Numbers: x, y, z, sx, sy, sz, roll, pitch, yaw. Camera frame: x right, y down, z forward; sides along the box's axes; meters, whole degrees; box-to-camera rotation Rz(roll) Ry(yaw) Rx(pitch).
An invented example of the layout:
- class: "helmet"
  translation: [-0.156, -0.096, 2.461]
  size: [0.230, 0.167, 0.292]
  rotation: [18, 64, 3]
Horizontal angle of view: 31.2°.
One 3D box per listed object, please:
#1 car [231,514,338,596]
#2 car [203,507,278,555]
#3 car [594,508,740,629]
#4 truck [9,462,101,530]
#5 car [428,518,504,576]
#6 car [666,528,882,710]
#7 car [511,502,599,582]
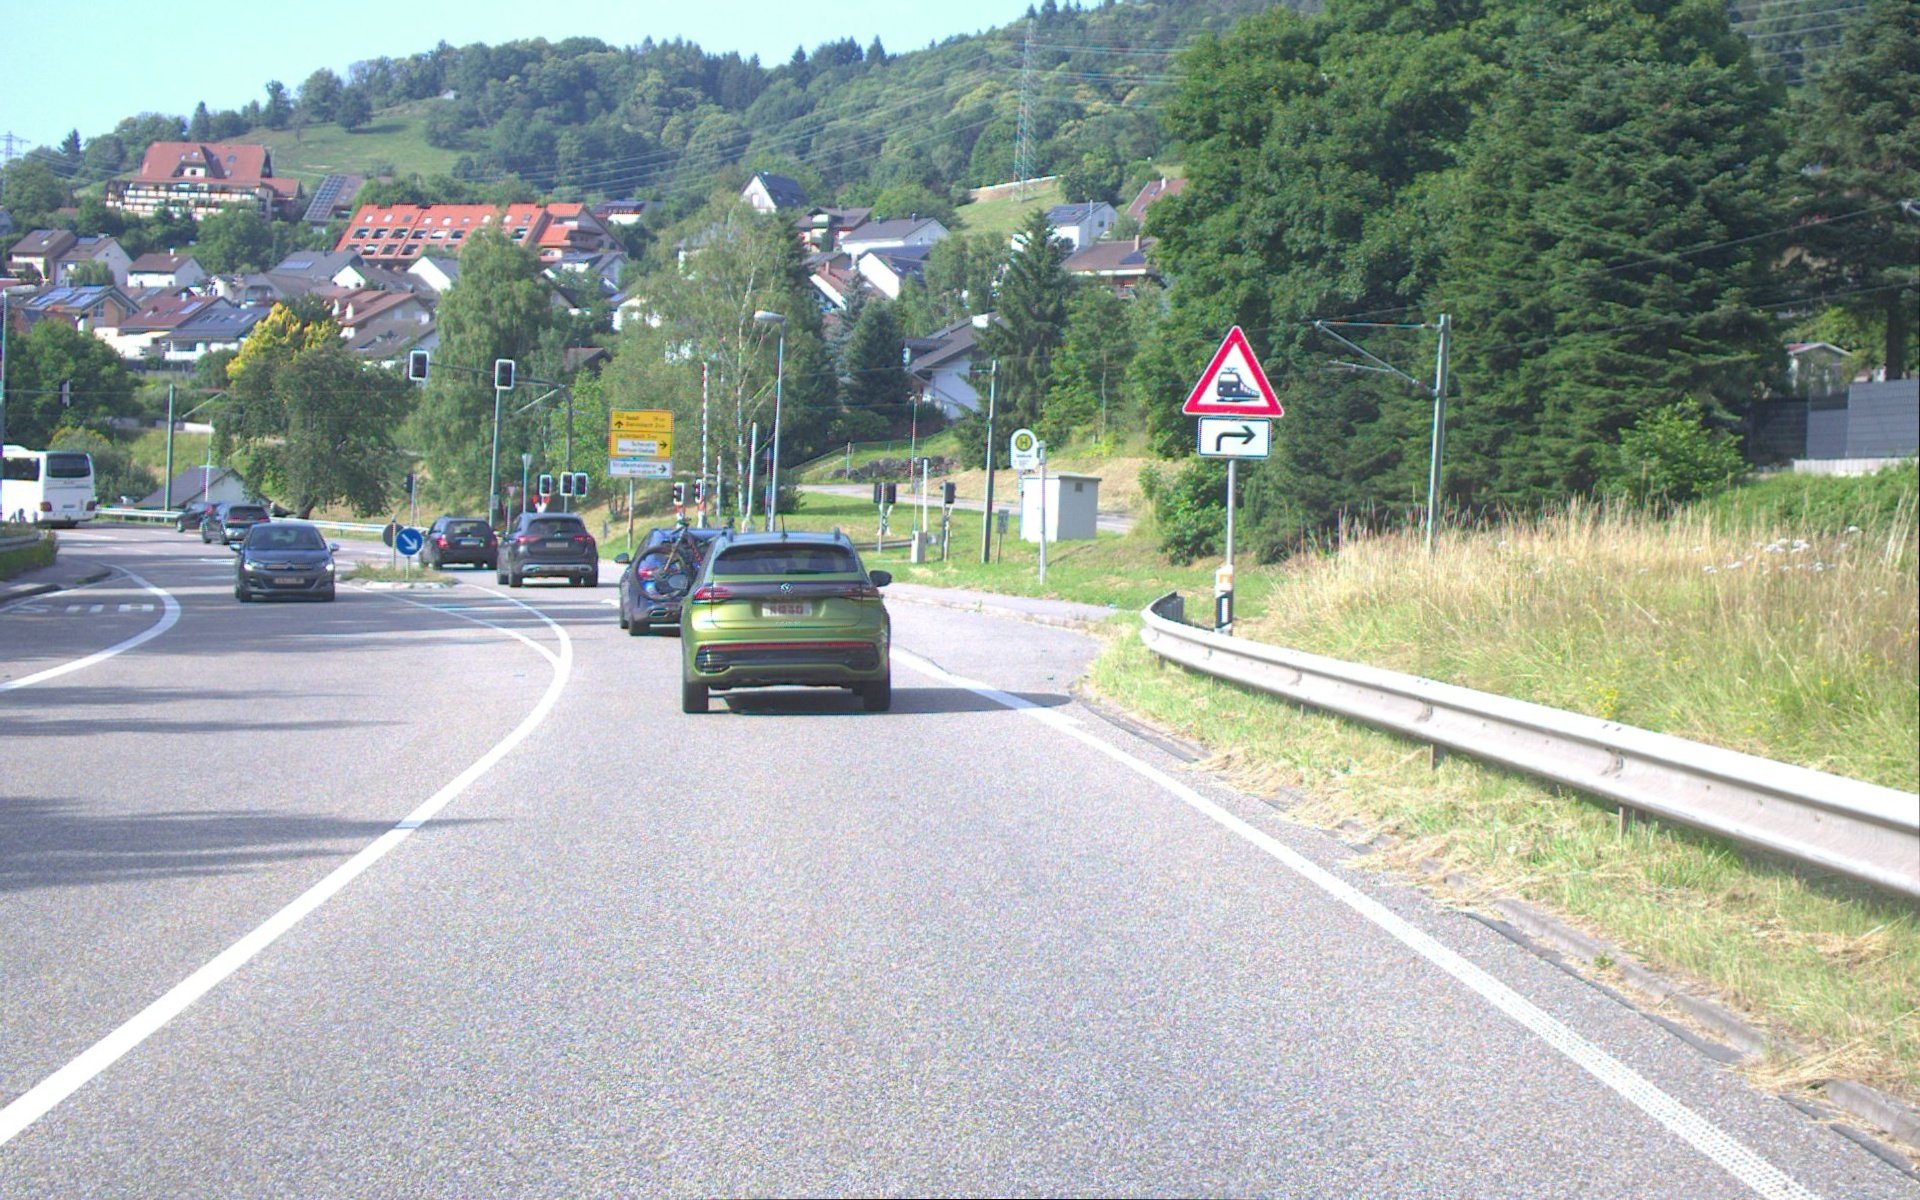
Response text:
- class: "car"
  translation: [-12.834, -0.872, 65.487]
  size: [1.890, 1.483, 4.001]
  rotation: [-1, 1, -10]
- class: "car"
  translation: [-27.749, -2.677, 132.544]
  size: [2.063, 1.805, 4.001]
  rotation: [-1, 2, -24]
- class: "car"
  translation: [-4.008, -0.454, 46.525]
  size: [1.666, 1.554, 4.001]
  rotation: [0, 1, -9]
- class: "truck"
  translation: [-42.264, -4.827, 160.416]
  size: [2.711, 3.073, 6.109]
  rotation: [0, 1, -29]
- class: "car"
  translation: [-13.605, -1.465, 94.562]
  size: [1.848, 1.521, 3.663]
  rotation: [-1, 1, -11]
- class: "car"
  translation: [-1.591, 0.107, 29.397]
  size: [1.714, 1.450, 4.001]
  rotation: [0, 1, -3]
- class: "car"
  translation: [-8.933, -1.291, 75.778]
  size: [1.879, 1.681, 4.001]
  rotation: [0, 1, -7]
